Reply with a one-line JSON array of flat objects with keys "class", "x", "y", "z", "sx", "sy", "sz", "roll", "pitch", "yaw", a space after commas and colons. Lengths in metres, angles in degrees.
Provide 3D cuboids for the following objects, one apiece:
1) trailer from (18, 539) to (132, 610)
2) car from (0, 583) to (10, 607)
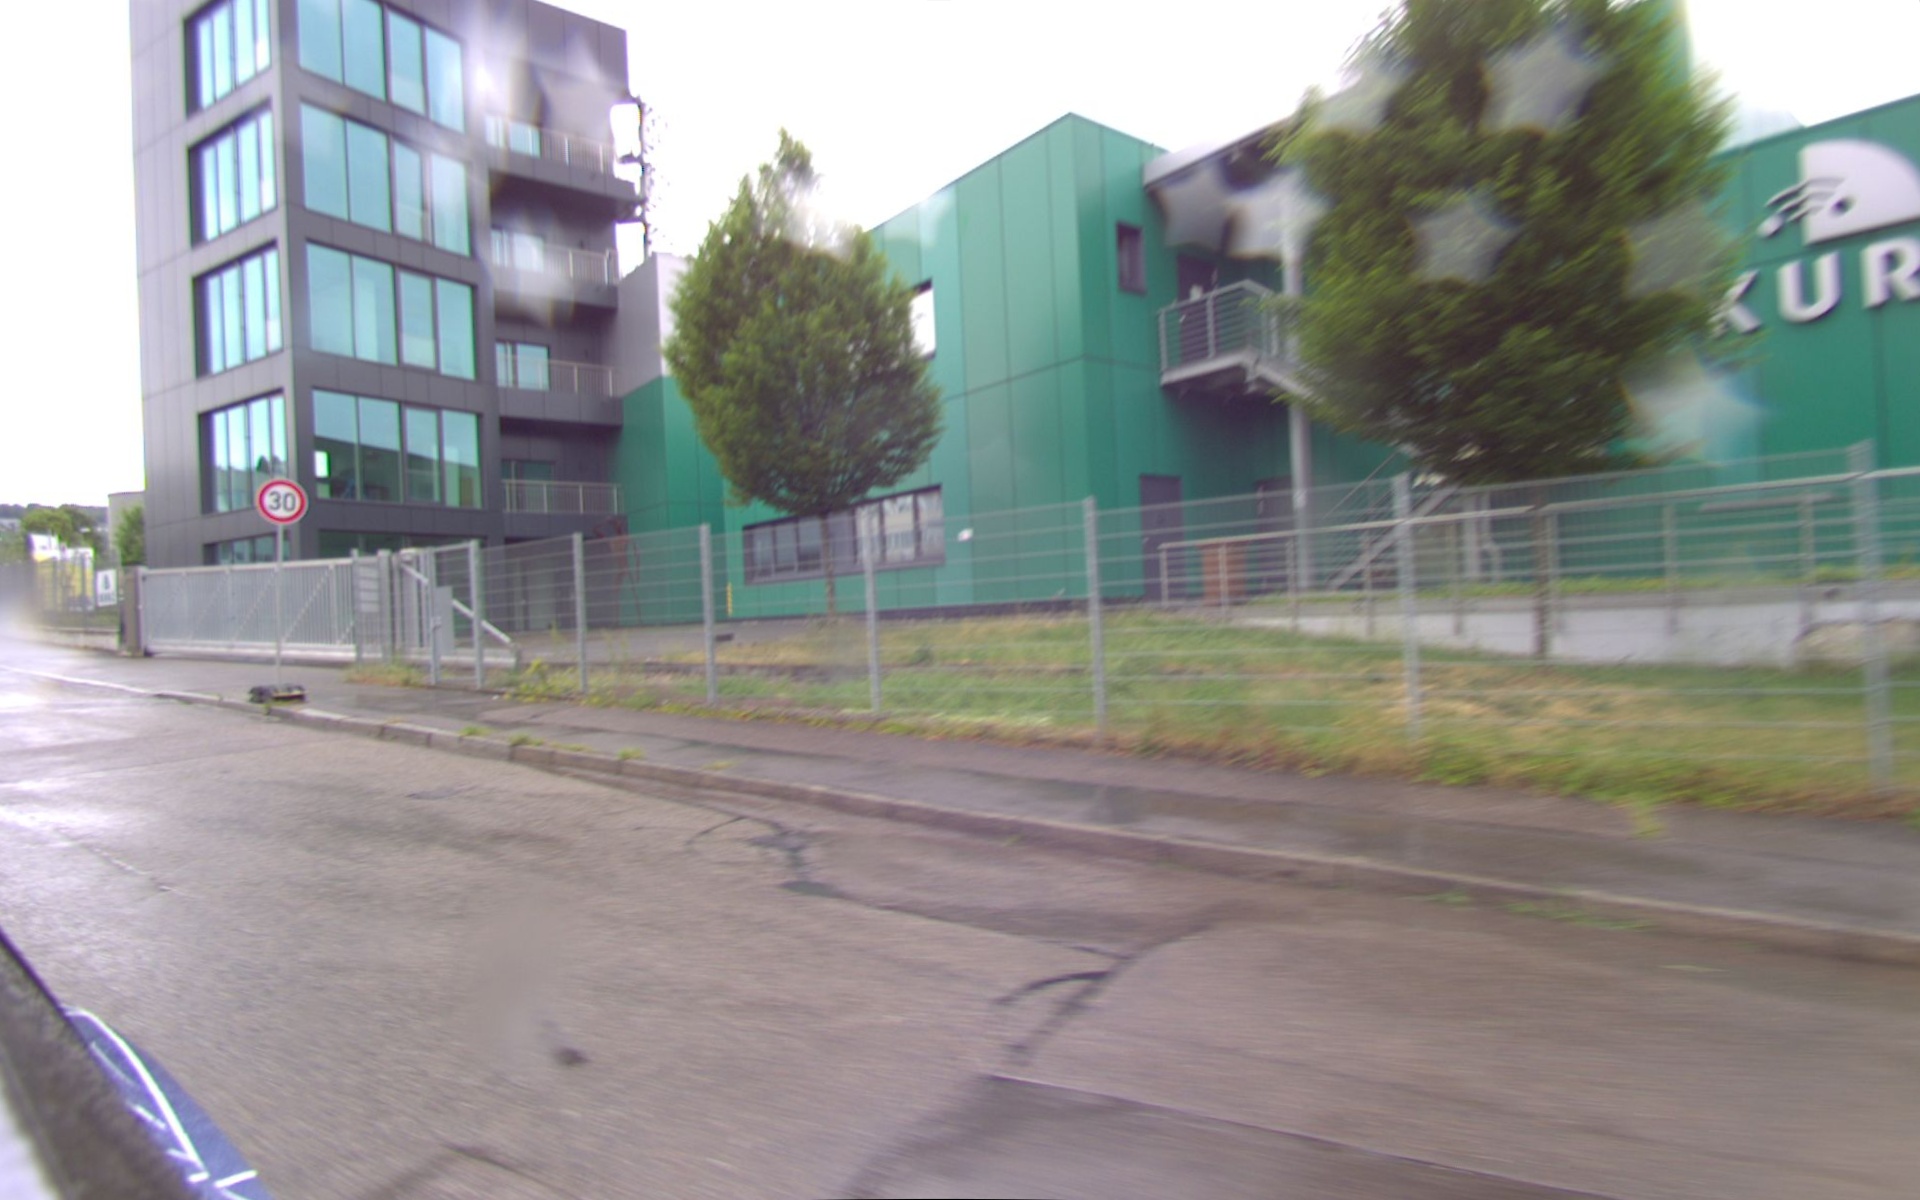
[{"class": "trailer", "x": -52.341, "y": -1.483, "z": 59.912, "sx": 4.632, "sy": 4.120, "sz": 2.390, "roll": 0, "pitch": 0, "yaw": -1}, {"class": "car", "x": -84.213, "y": -0.437, "z": 87.781, "sx": 1.967, "sy": 2.029, "sz": 4.010, "roll": 0, "pitch": 0, "yaw": -34}]
